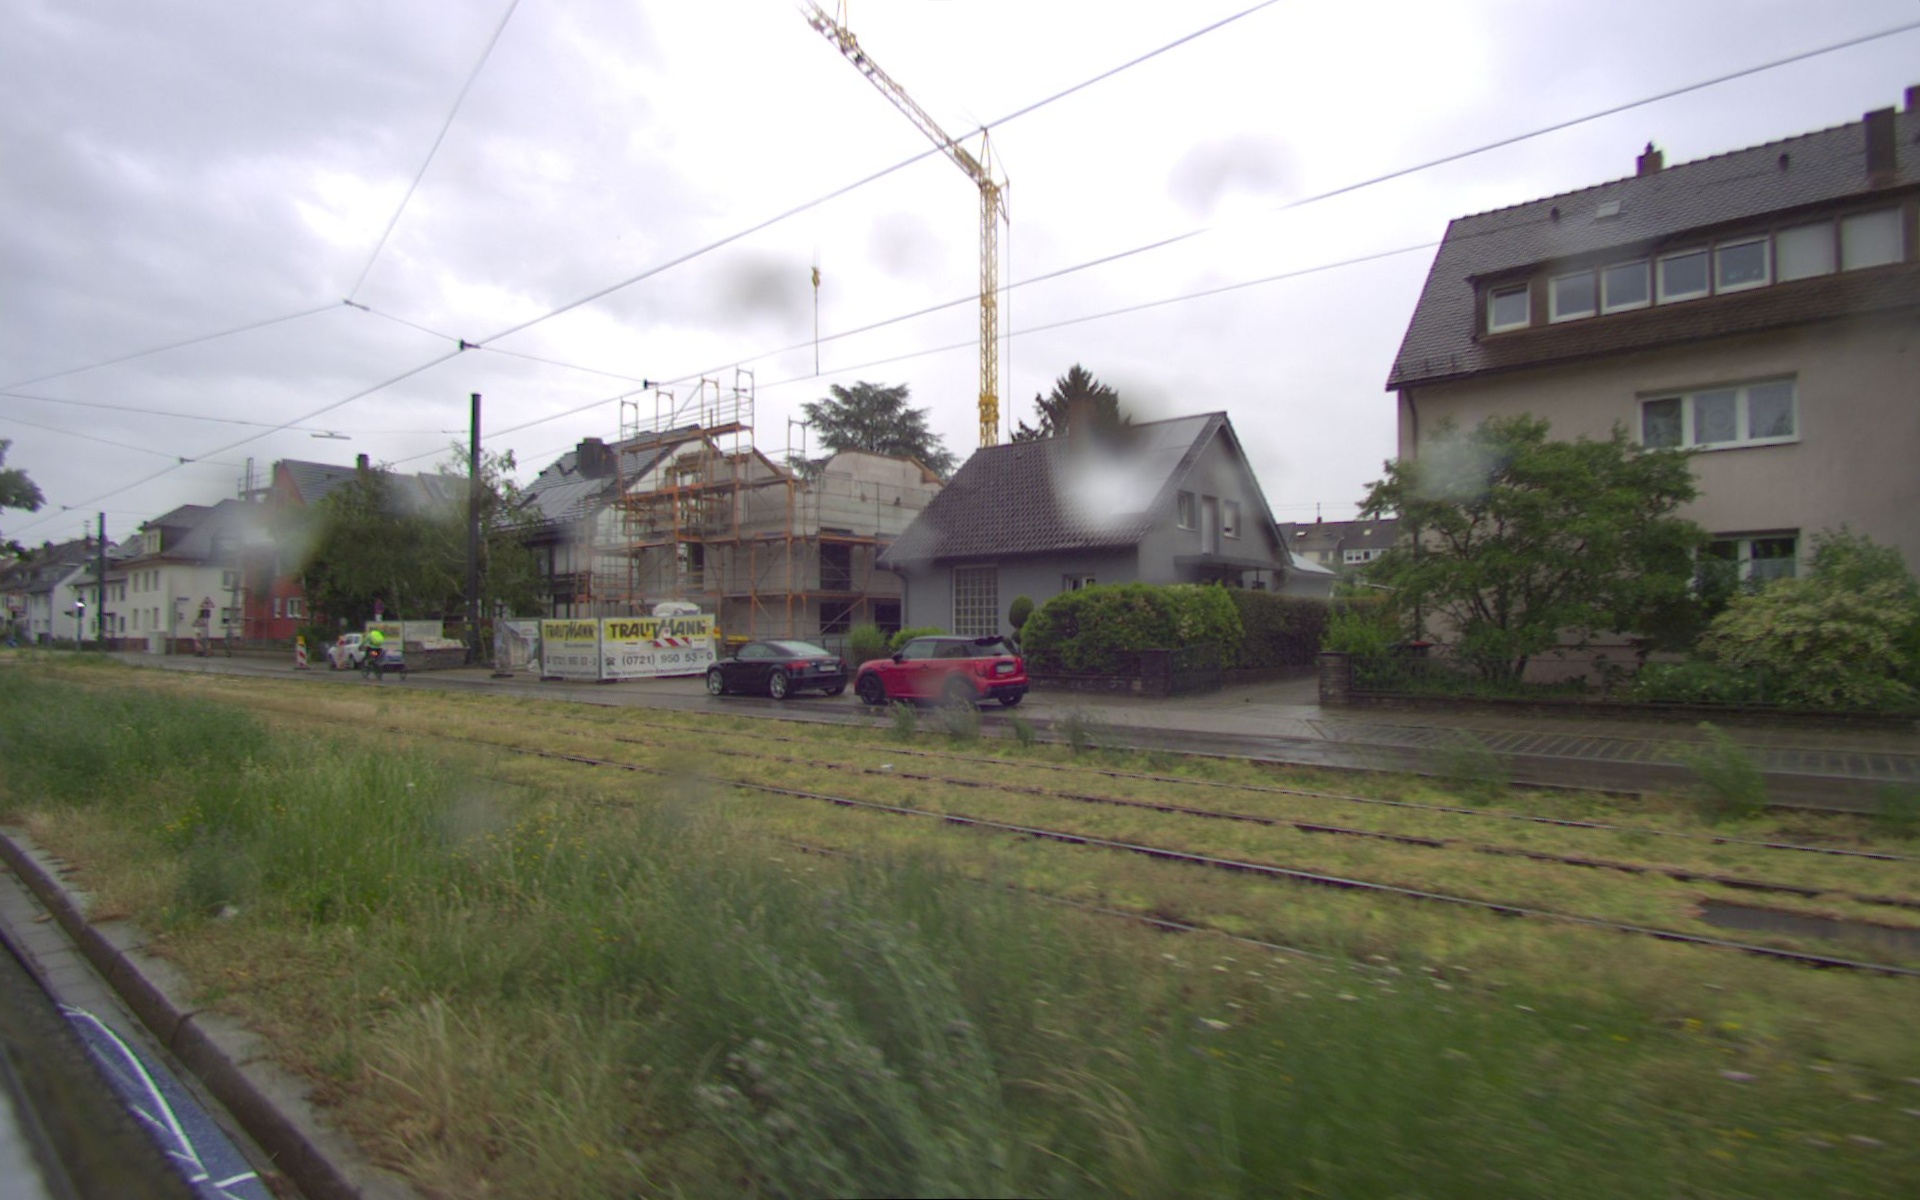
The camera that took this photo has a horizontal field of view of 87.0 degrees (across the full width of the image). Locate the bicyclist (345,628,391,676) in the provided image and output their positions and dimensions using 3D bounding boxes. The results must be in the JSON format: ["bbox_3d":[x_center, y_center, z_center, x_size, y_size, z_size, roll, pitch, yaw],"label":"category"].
[{"bbox_3d":[-20.182,1.752,34.487,1.399,1.596,0.943,-1,-1,40],"label":"bicyclist"}]

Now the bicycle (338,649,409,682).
[{"bbox_3d":[-19.831,2.187,34.191,3.431,1.051,0.925,-2,-3,40],"label":"bicycle"}]

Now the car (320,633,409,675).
[{"bbox_3d":[-25.776,2.296,43.759,4.246,1.640,1.974,-1,-1,39],"label":"car"}]

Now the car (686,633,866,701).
[{"bbox_3d":[-4.401,1.577,23.933,4.171,1.420,1.973,-4,-3,40],"label":"car"}]

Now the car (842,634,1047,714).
[{"bbox_3d":[-0.369,1.416,20.547,3.841,1.383,1.973,-1,-1,40],"label":"car"}]
